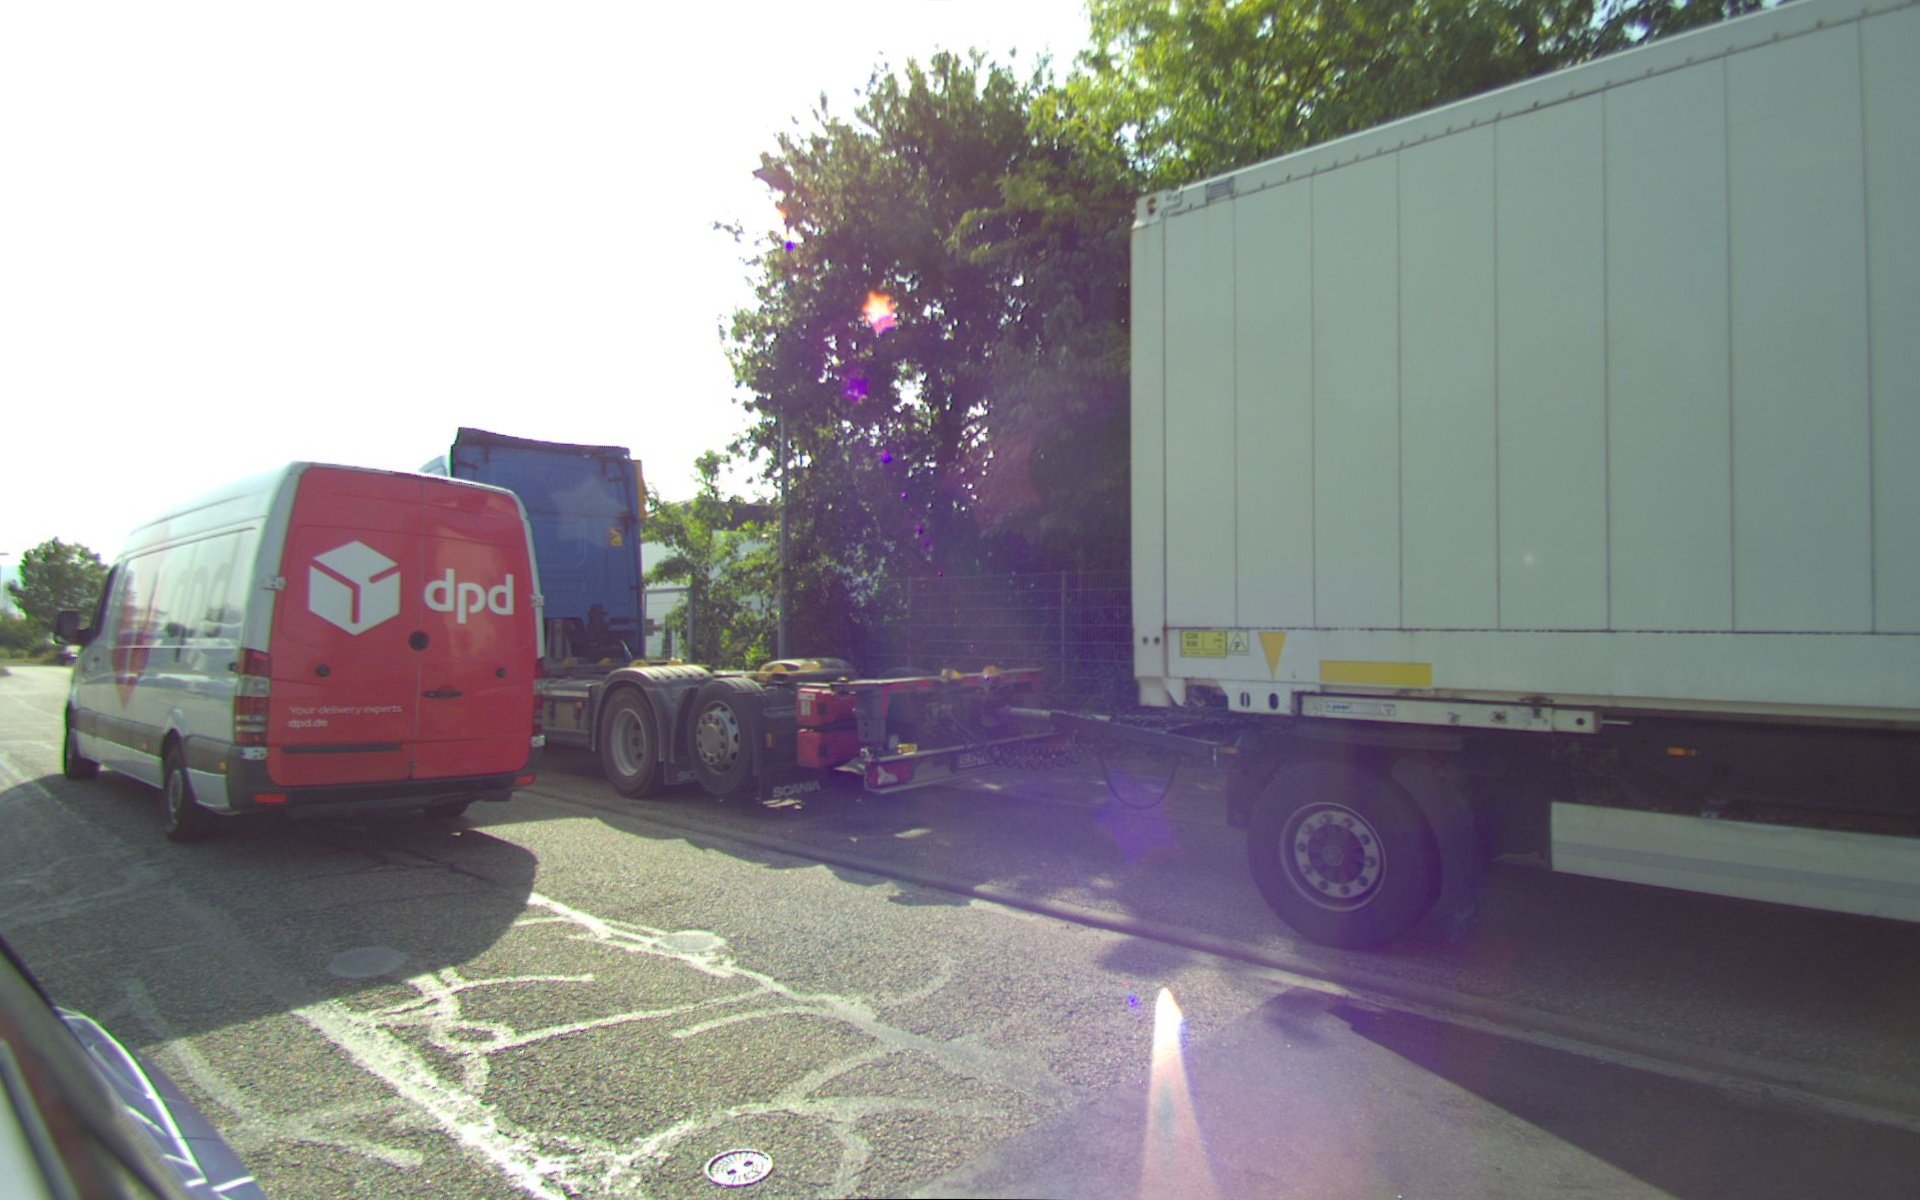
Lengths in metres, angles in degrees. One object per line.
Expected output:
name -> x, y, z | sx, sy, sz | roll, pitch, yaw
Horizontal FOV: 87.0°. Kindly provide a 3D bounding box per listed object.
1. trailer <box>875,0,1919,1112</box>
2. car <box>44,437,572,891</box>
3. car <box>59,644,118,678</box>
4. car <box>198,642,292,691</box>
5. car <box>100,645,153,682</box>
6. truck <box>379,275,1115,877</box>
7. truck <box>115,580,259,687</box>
trailer -> 3.999, -0.257, 4.389 | 9.759, 3.914, 2.672 | -2, -2, 41
car -> -6.070, 0.492, 8.808 | 6.987, 2.567, 1.972 | -2, -5, 42
car -> -43.876, 3.048, 50.928 | 3.964, 1.594, 1.712 | -2, -2, 41
car -> -25.350, 2.311, 35.835 | 4.190, 1.604, 1.745 | -2, -2, 40
car -> -38.561, 2.892, 46.802 | 3.166, 1.619, 1.423 | -2, -2, 41
truck -> -3.124, -0.041, 10.858 | 9.636, 3.914, 2.683 | -2, -2, 43
truck -> -31.718, 1.342, 41.327 | 10.058, 3.883, 2.748 | -2, -1, 41
